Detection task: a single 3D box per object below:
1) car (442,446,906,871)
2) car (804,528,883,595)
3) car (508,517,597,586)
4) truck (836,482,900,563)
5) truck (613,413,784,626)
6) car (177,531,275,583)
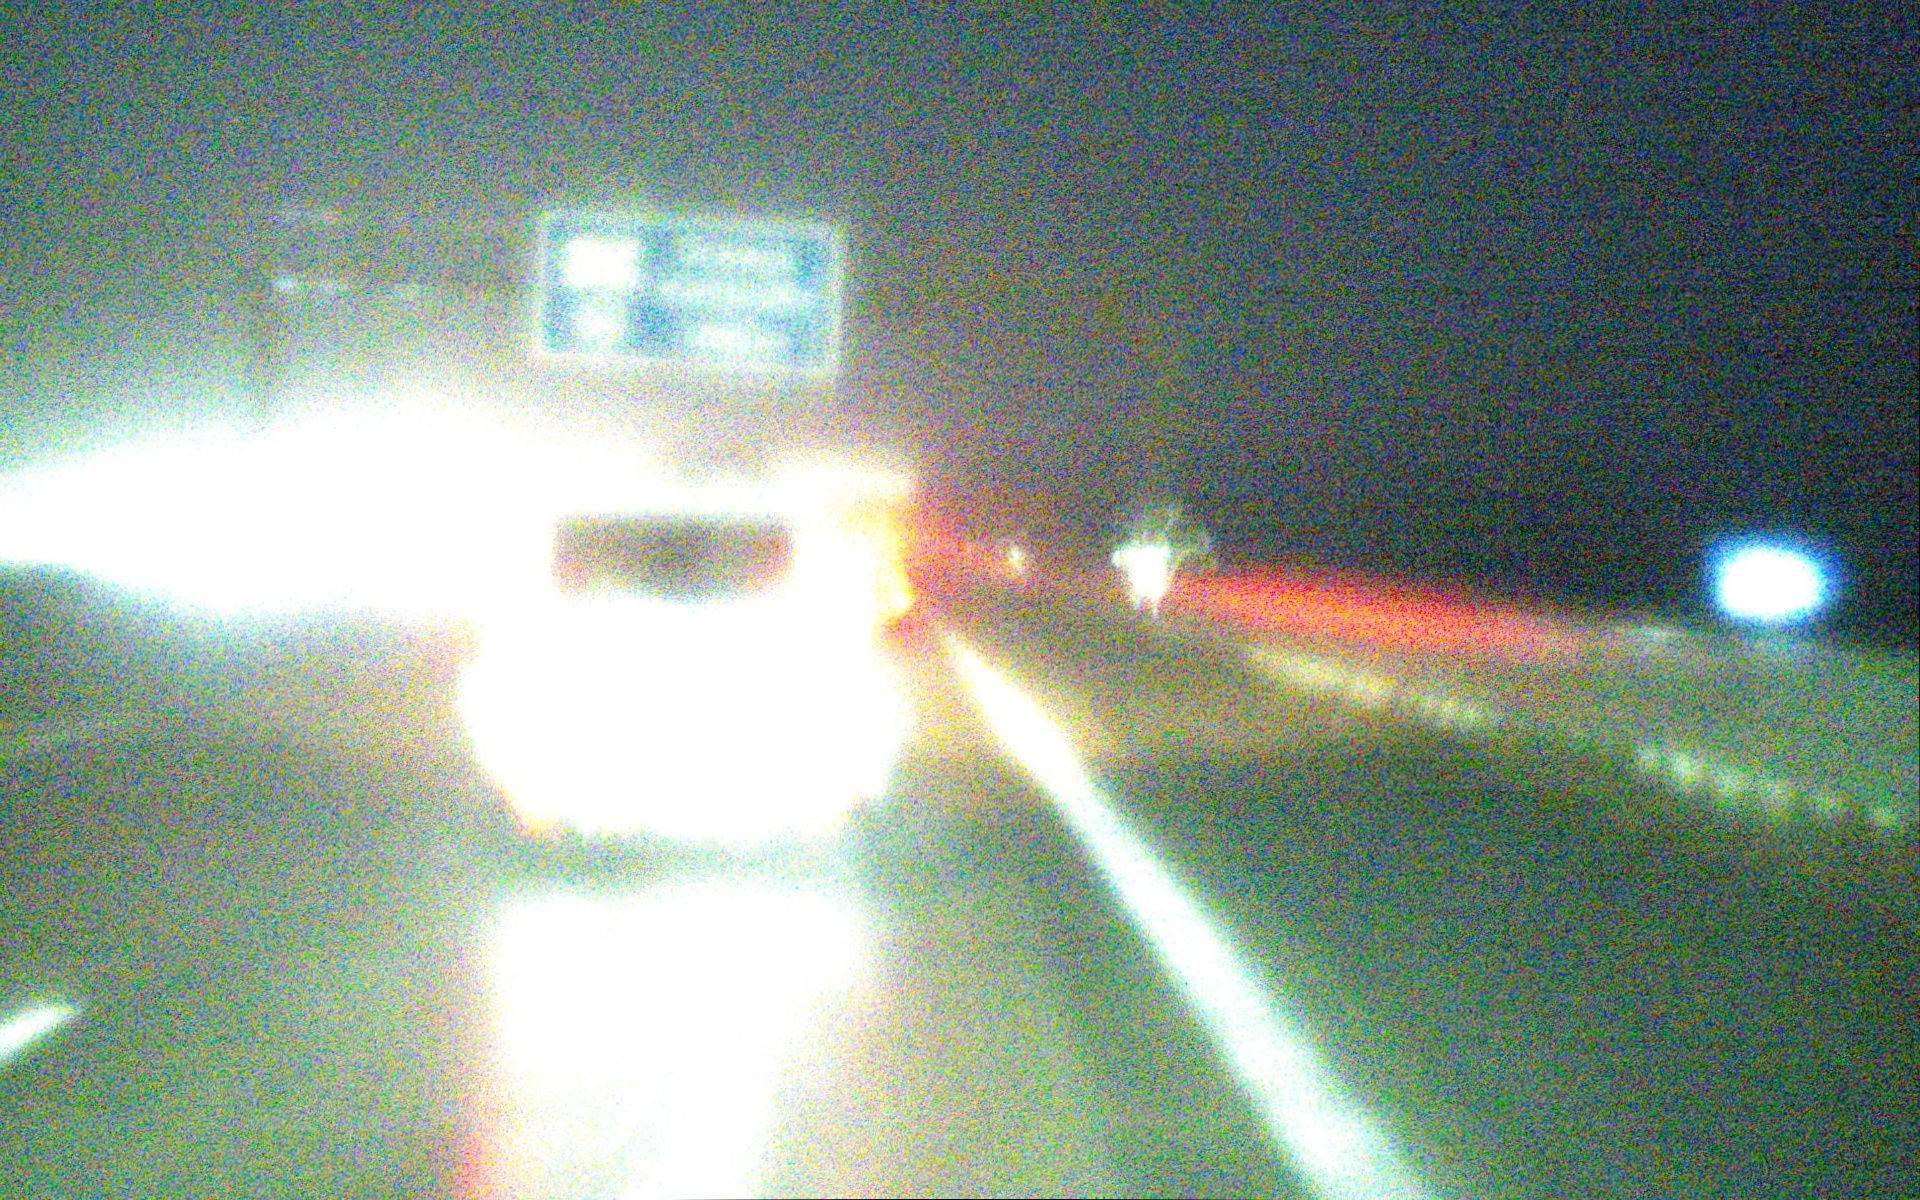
[{"bbox_3d":[-1.315,0.220,17.398,1.953,1.786,5.125,2,1,-2],"label":"car"},{"bbox_3d":[-3.116,-1.032,91.364,1.993,1.701,4.196,2,1,-2],"label":"car"},{"bbox_3d":[-11.386,-1.380,96.302,1.993,1.701,4.196,6,1,-2],"label":"car"},{"bbox_3d":[-5.890,-4.865,218.133,3.823,4.898,11.607,2,1,-2],"label":"truck"},{"bbox_3d":[-7.236,-2.207,97.430,4.167,5.525,13.076,2,1,-2],"label":"truck"},{"bbox_3d":[-22.585,-1.324,105.913,1.971,1.459,5.370,3,1,-2],"label":"car"}]
